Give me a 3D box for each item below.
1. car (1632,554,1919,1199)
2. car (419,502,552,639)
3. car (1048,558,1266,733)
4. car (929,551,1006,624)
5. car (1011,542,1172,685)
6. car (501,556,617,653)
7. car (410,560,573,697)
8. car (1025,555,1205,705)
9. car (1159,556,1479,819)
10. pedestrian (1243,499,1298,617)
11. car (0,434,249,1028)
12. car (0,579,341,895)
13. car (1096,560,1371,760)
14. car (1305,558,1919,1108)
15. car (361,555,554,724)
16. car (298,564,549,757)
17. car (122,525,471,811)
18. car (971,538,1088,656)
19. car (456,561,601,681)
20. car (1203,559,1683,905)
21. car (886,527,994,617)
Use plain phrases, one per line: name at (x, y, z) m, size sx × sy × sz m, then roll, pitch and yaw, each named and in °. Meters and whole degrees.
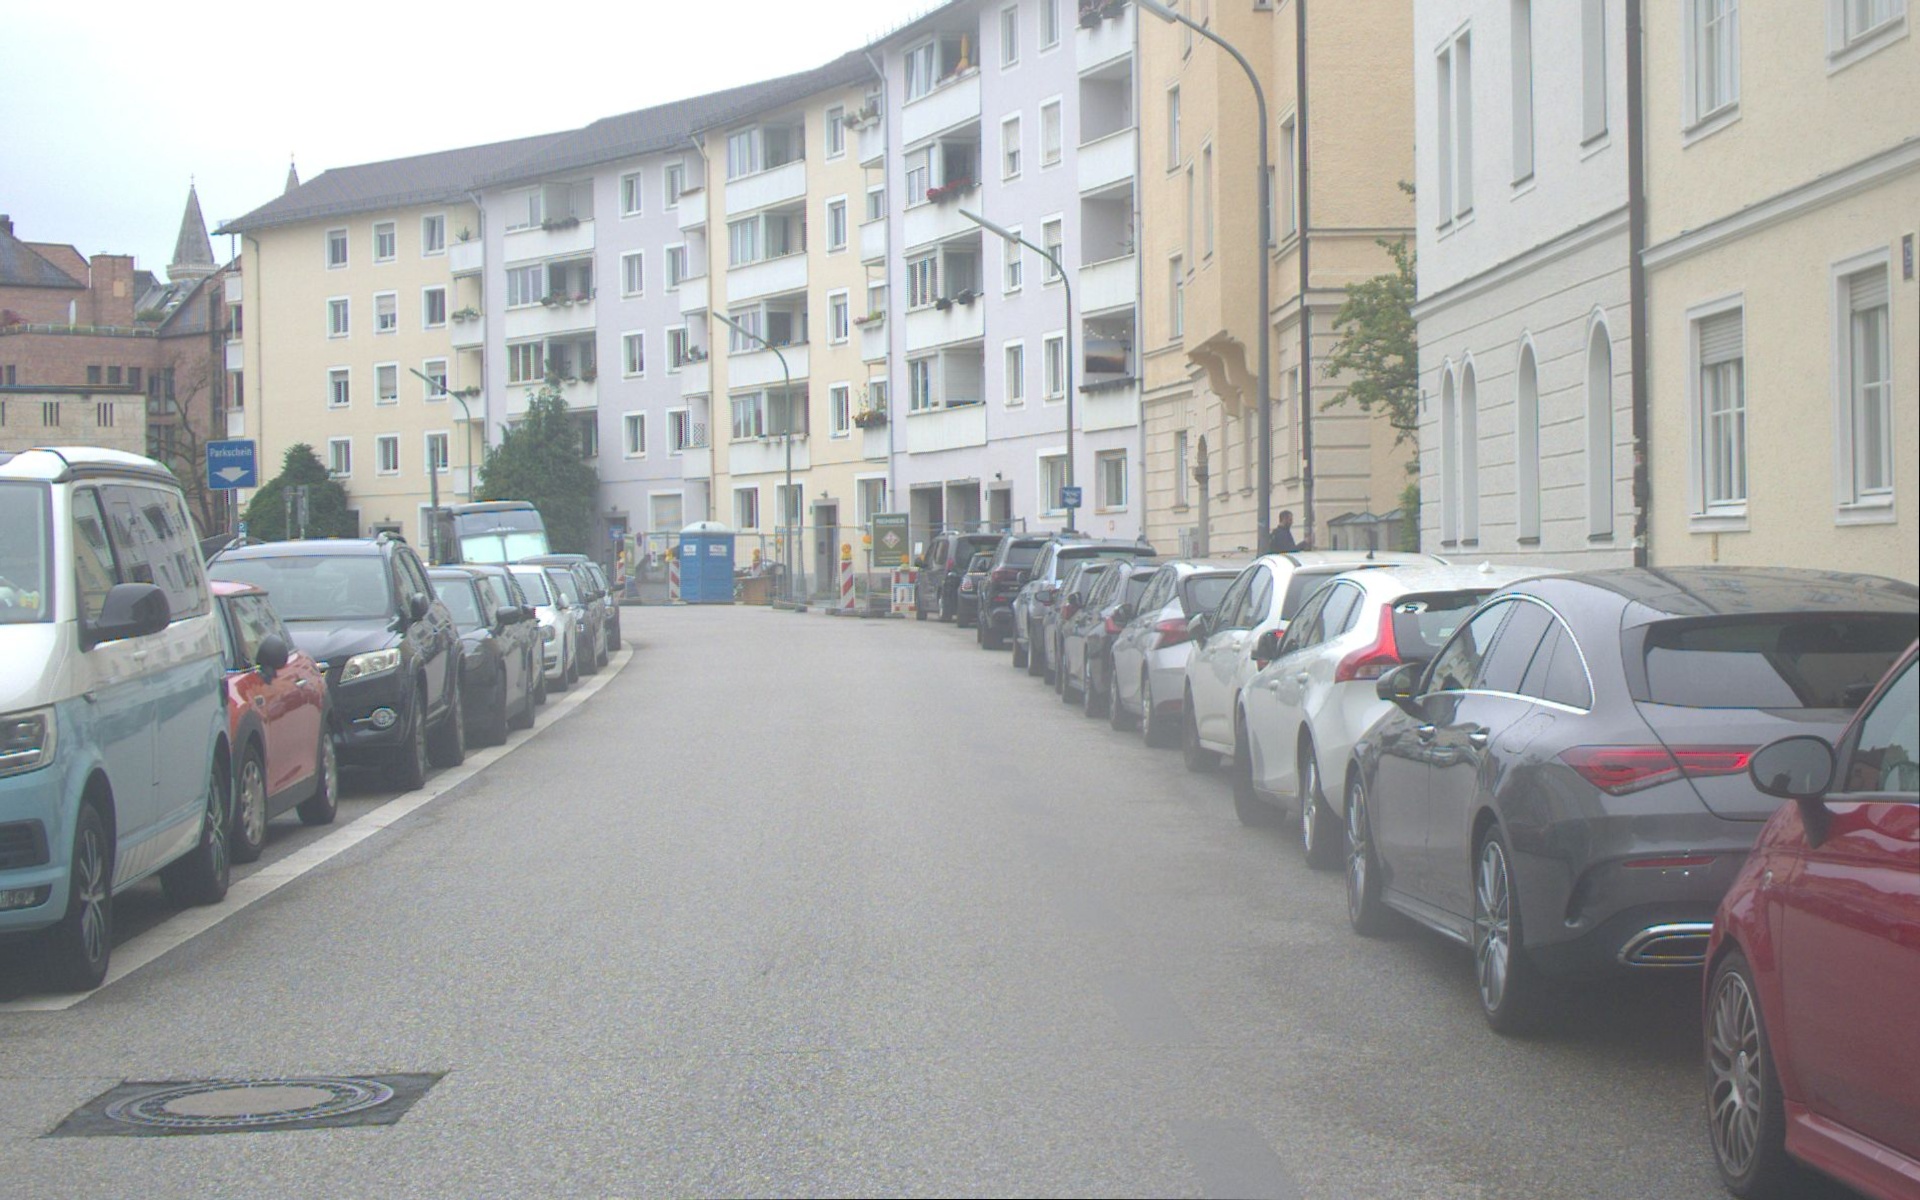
car at (2.565, 0.683, 6.986) m, size 1.595 × 1.503 × 3.801 m, roll 0°, pitch 2°, yaw -1°
car at (-9.639, -0.630, 69.616) m, size 1.770 × 2.645 × 4.001 m, roll 2°, pitch 1°, yaw -20°
car at (1.799, 0.376, 32.600) m, size 1.590 × 1.427 × 4.422 m, roll 1°, pitch 2°, yaw -2°
car at (0.126, -0.246, 64.006) m, size 1.272 × 1.294 × 2.798 m, roll 1°, pitch 1°, yaw -3°
car at (1.569, 0.124, 42.348) m, size 1.590 × 1.576 × 4.300 m, roll 1°, pitch 2°, yaw -3°
car at (-6.348, 0.053, 54.732) m, size 1.623 × 1.414 × 3.649 m, roll -1°, pitch 2°, yaw -4°
car at (-5.363, 0.289, 39.734) m, size 1.623 × 1.414 × 3.982 m, roll -1°, pitch 2°, yaw -5°
car at (1.631, 0.282, 37.276) m, size 1.590 × 1.427 × 3.826 m, roll 1°, pitch 2°, yaw -2°
car at (2.272, 0.503, 22.588) m, size 1.599 × 1.486 × 3.799 m, roll 0°, pitch 2°, yaw -1°
pedestrian at (4.553, -0.616, 50.406) m, size 0.667 × 1.686 × 0.690 m, roll 2°, pitch 1°, yaw -1°
car at (-4.077, 0.381, 13.400) m, size 1.882 × 1.925 × 4.602 m, roll -2°, pitch 2°, yaw -4°
car at (-4.383, 0.652, 18.186) m, size 1.652 × 1.368 × 3.653 m, roll -2°, pitch 2°, yaw -2°
car at (2.117, 0.424, 27.569) m, size 1.692 × 1.427 × 3.945 m, roll 1°, pitch 1°, yaw -2°
car at (2.334, 0.618, 11.713) m, size 1.692 × 1.486 × 4.344 m, roll 0°, pitch 1°, yaw -2°
car at (-4.945, 0.342, 34.229) m, size 1.623 × 1.503 × 3.982 m, roll -1°, pitch 2°, yaw -5°
car at (-4.471, 0.461, 29.100) m, size 1.623 × 1.407 × 3.799 m, roll -2°, pitch 2°, yaw -2°
car at (-4.435, 0.382, 23.540) m, size 1.701 × 1.685 × 4.028 m, roll -2°, pitch 2°, yaw -2°
car at (1.020, -0.083, 52.187) m, size 1.474 × 1.635 × 4.002 m, roll 1°, pitch 2°, yaw -3°
car at (-5.640, 0.244, 45.233) m, size 1.623 × 1.414 × 3.982 m, roll -1°, pitch 2°, yaw -4°
car at (2.343, 0.573, 17.711) m, size 1.692 × 1.486 × 4.283 m, roll 0°, pitch 2°, yaw -2°
car at (-0.433, -0.580, 69.243) m, size 1.601 × 1.709 × 3.090 m, roll 1°, pitch 2°, yaw -11°
